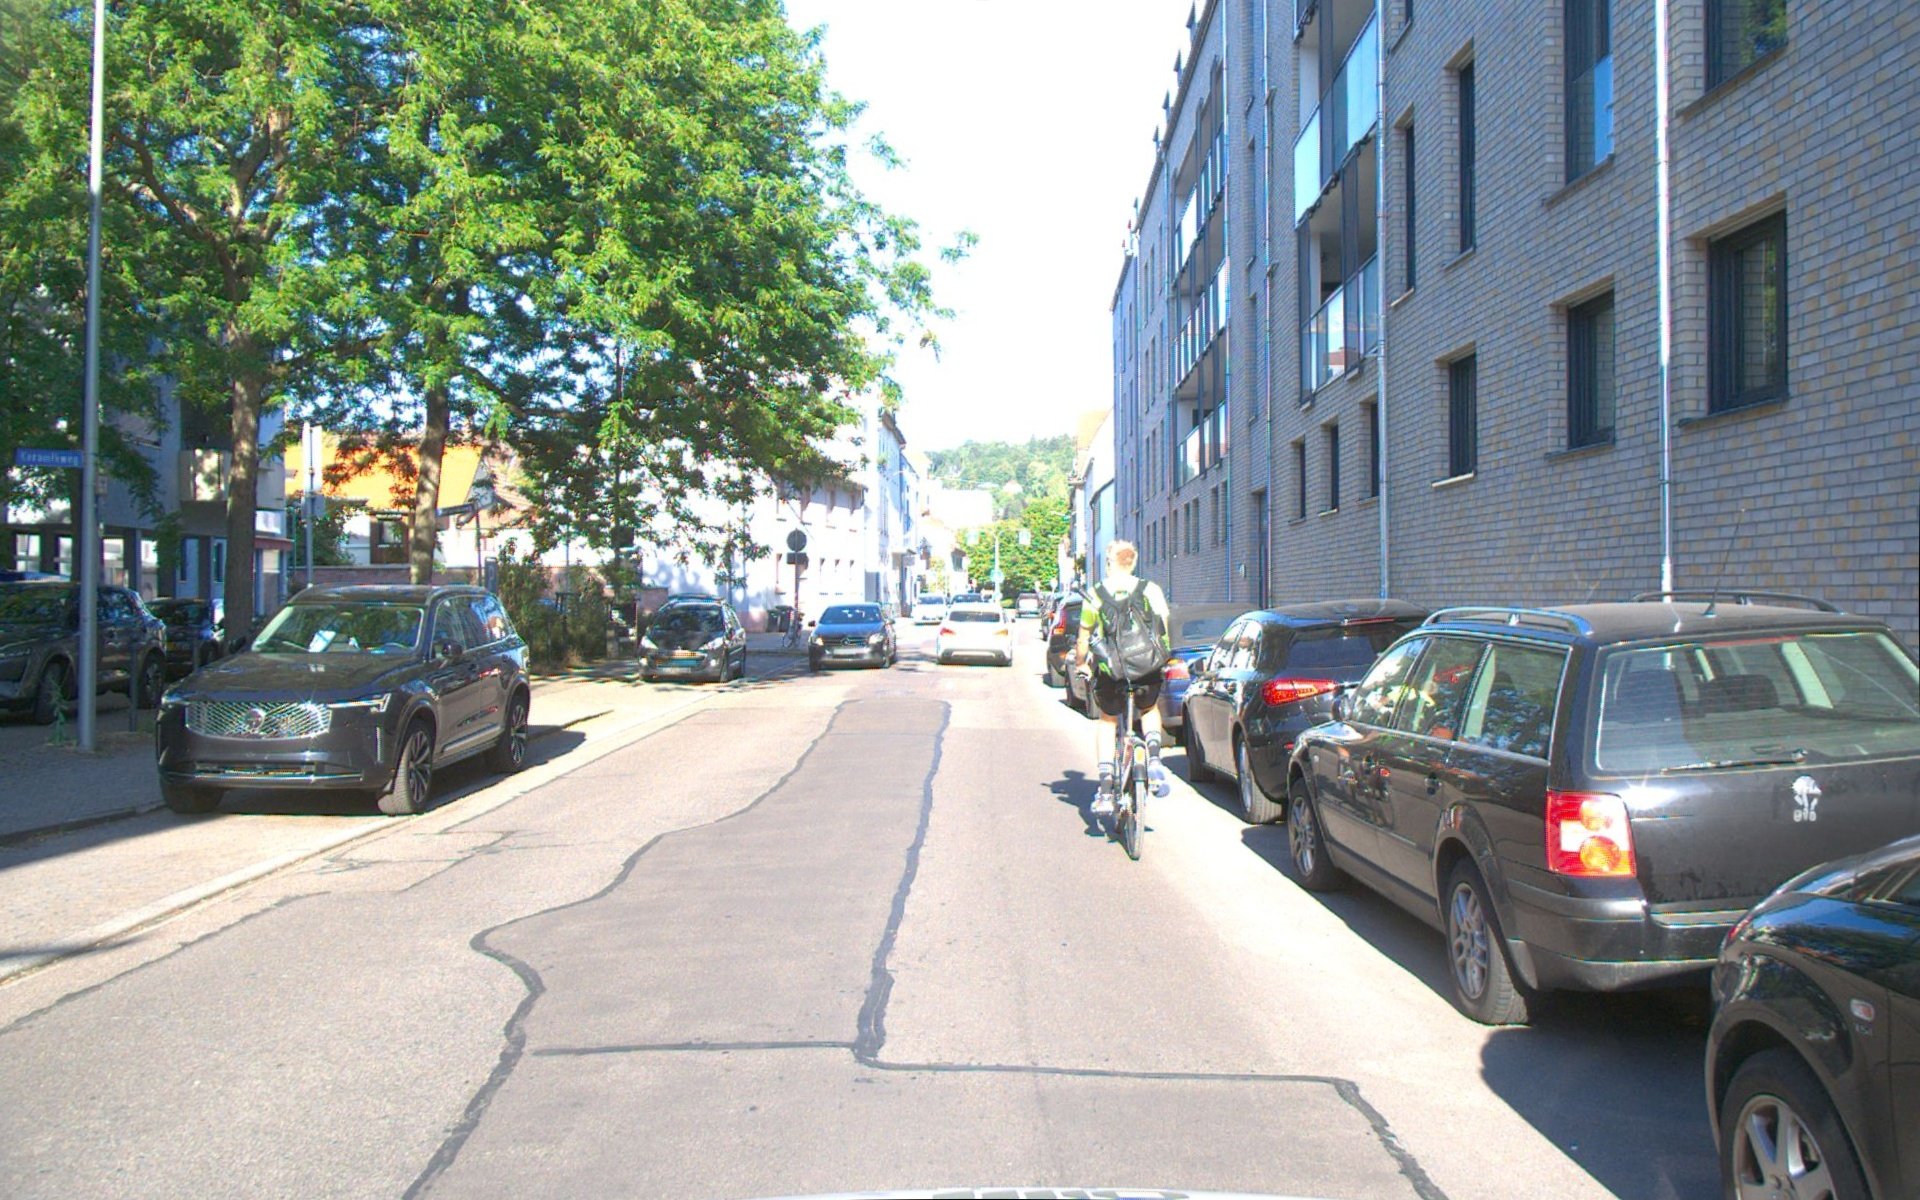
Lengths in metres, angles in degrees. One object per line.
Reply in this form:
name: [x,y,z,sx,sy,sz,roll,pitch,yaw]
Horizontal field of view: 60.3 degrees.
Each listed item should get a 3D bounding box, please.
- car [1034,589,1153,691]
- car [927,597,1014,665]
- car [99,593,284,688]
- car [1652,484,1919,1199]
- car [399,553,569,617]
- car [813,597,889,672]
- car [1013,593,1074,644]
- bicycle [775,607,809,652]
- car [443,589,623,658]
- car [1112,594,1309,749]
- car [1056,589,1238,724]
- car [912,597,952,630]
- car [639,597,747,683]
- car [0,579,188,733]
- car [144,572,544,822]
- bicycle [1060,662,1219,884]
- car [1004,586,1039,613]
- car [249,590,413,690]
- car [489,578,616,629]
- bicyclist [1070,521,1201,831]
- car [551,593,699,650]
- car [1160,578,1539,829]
car: [2.505,0.731,32.040,1.820,1.732,4.621,-3,0,0]
car: [0.195,0.713,39.087,1.805,1.517,4.141,0,-1,-3]
car: [-14.214,0.699,30.812,1.821,1.615,3.669,2,0,-3]
car: [2.576,0.659,2.130,1.631,1.732,3.912,0,0,-2]
car: [-12.155,-0.381,42.354,3.819,1.603,1.710,0,0,3]
car: [-2.422,0.726,37.350,1.631,1.603,3.912,0,0,-3]
car: [2.888,0.646,58.249,1.820,1.614,4.621,-3,0,0]
bicycle: [-4.849,0.827,47.958,0.818,1.239,2.840,0,0,-3]
car: [-10.188,0.542,39.624,3.818,1.603,1.711,0,0,5]
car: [2.697,0.731,18.470,1.478,1.469,3.528,-3,0,-2]
car: [2.517,0.733,23.364,1.820,1.614,4.619,-3,0,-2]
car: [-1.497,0.734,88.709,1.905,1.614,4.622,-3,0,1]
car: [-5.238,0.751,32.861,1.670,1.603,3.912,0,0,-3]
car: [-11.152,0.577,19.939,1.821,1.615,4.616,2,0,-5]
car: [-5.078,0.697,14.386,1.815,1.823,4.606,0,0,-1]
bicycle: [1.061,0.998,10.306,0.684,1.150,2.402,0,-1,-1]
car: [4.136,-0.028,111.647,1.817,1.823,4.603,0,0,-4]
car: [-11.769,0.691,31.213,1.754,1.719,3.962,2,0,-4]
car: [-13.034,0.109,53.064,3.829,1.603,1.706,0,0,-10]
bicyclist: [1.068,0.451,10.243,0.684,1.821,1.040,0,-1,-1]
car: [-9.436,0.595,46.743,3.821,1.603,1.710,0,0,0]
car: [2.797,0.669,12.975,1.820,1.615,4.620,0,0,-1]
